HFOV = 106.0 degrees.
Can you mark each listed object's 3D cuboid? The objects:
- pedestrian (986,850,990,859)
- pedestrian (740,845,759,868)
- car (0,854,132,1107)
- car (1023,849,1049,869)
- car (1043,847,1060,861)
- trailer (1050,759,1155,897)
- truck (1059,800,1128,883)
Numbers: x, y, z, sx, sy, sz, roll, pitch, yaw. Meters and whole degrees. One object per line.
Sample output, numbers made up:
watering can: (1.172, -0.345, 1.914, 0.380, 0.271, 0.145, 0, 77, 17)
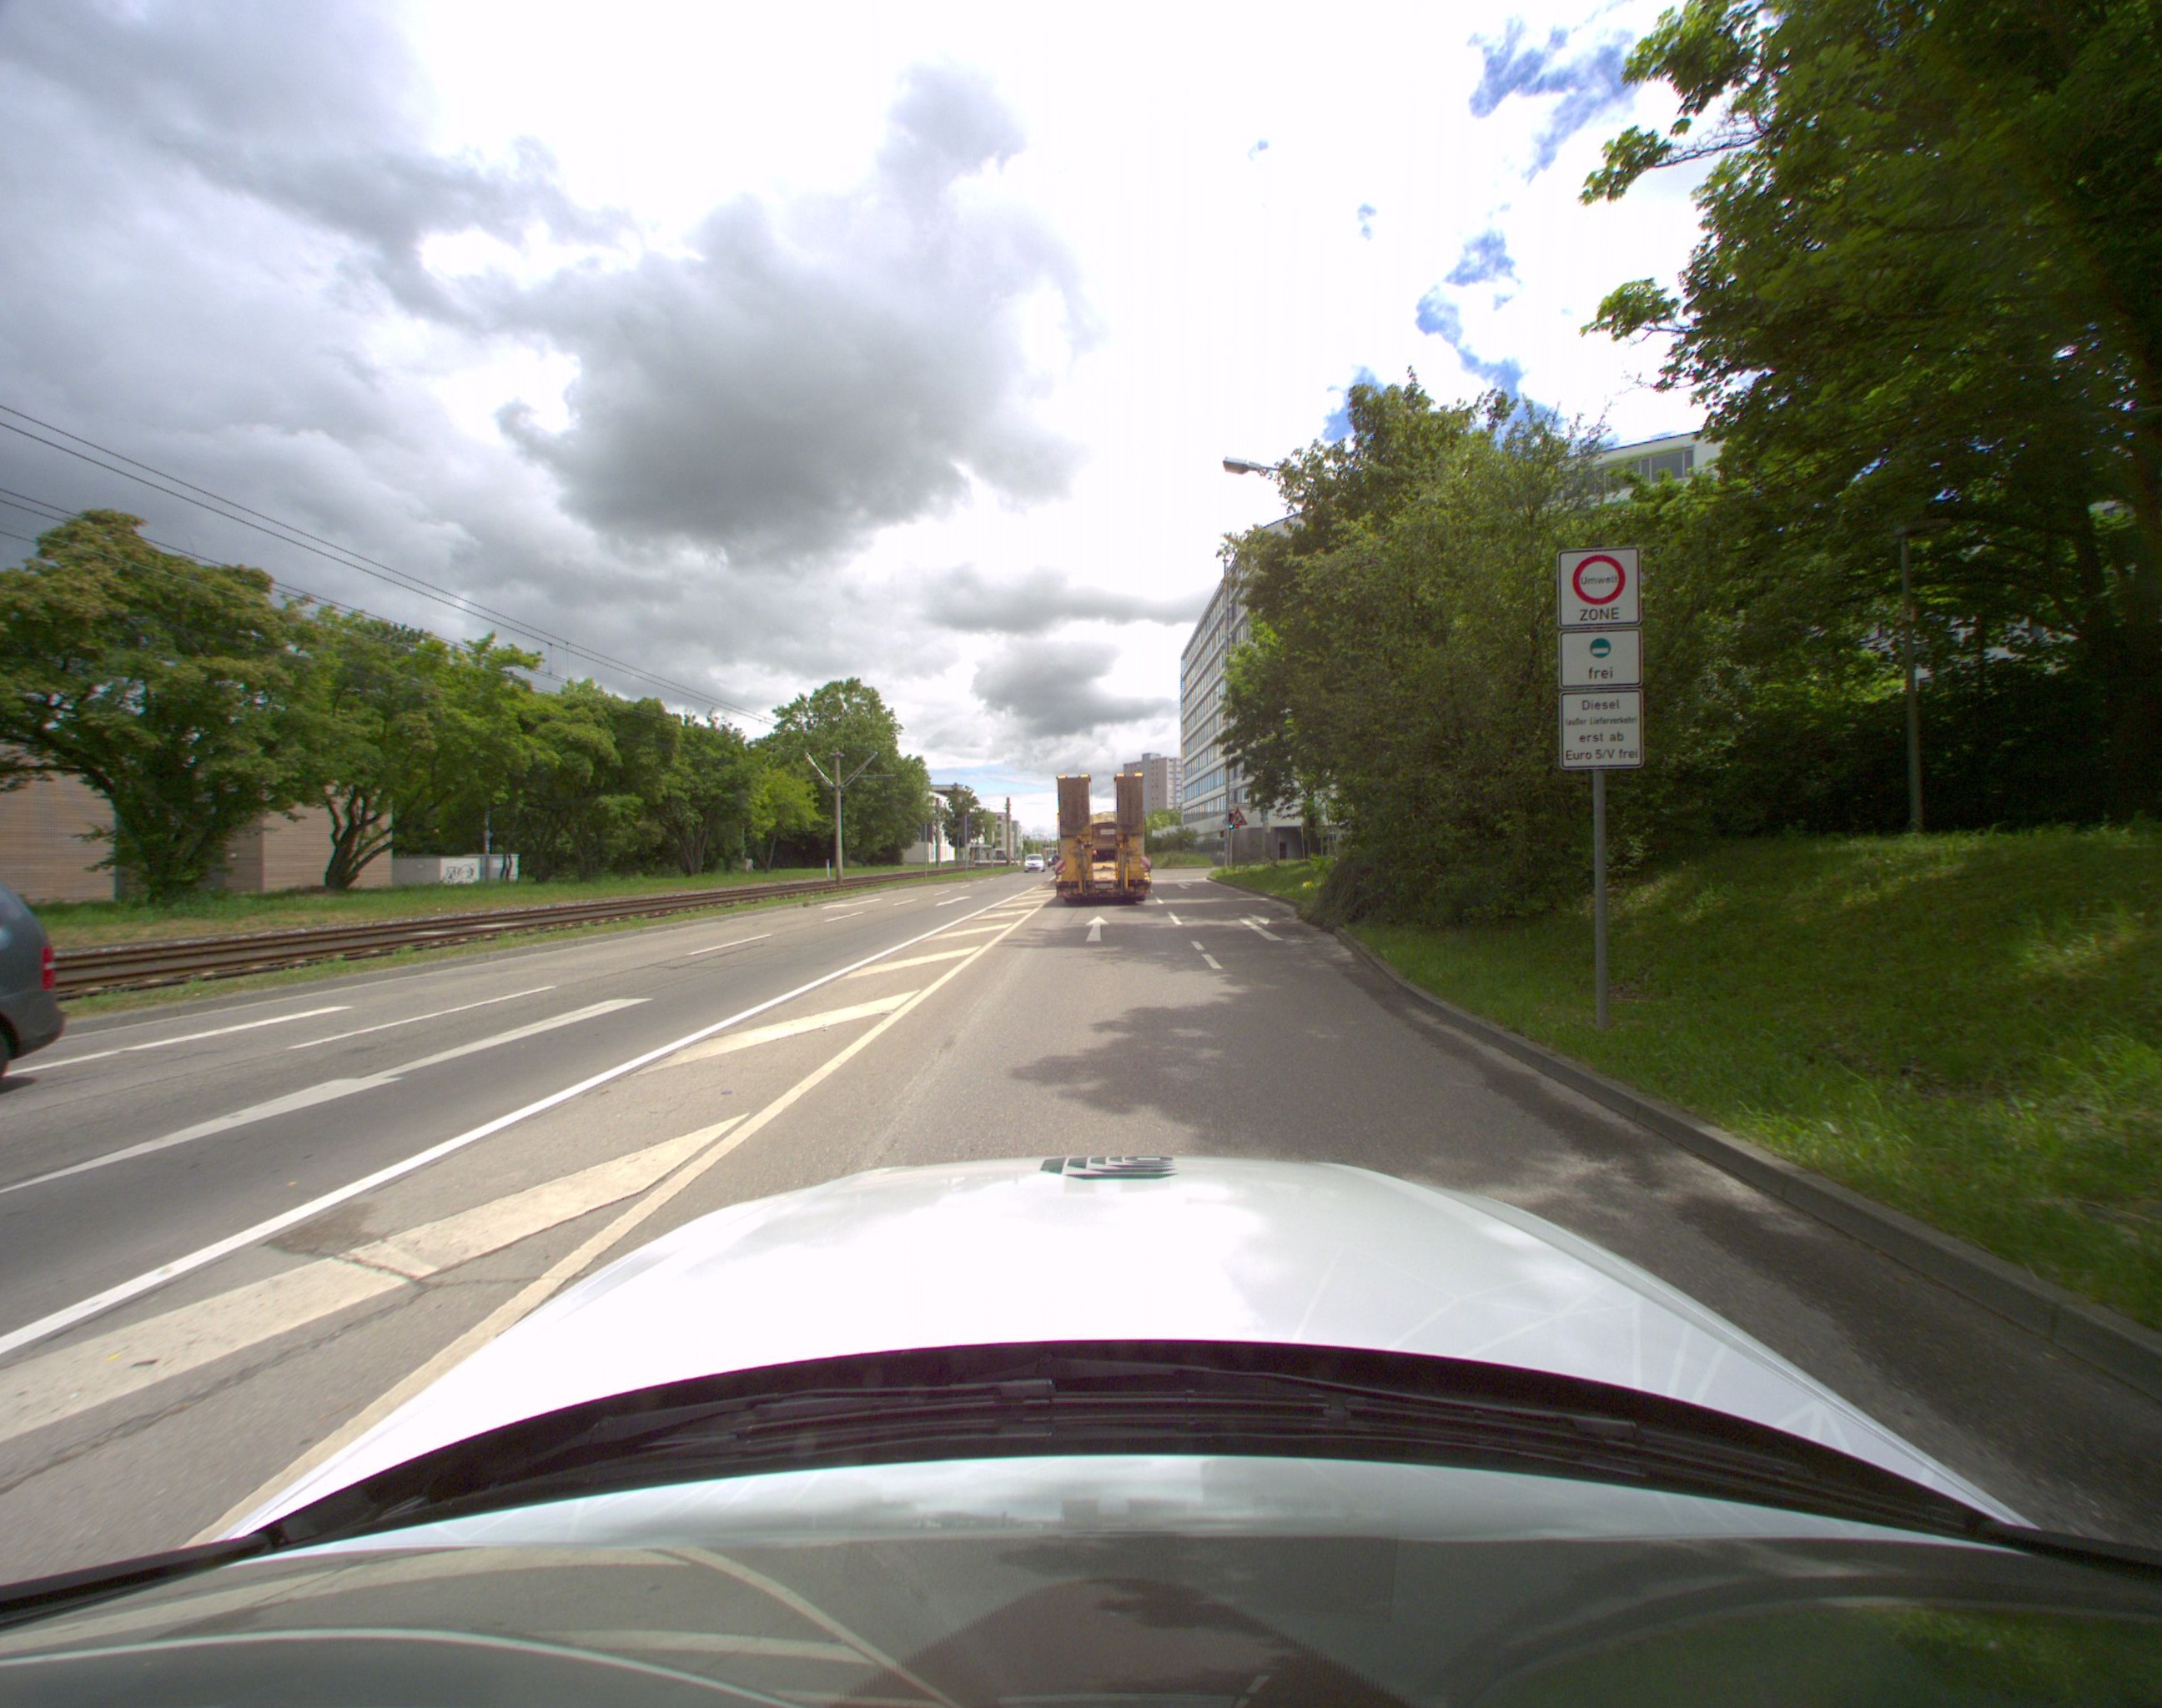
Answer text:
pedestrian: (-17.486, 0.089, 152.872, 0.738, 1.531, 0.547, 0, -1, 3)
pedestrian: (-28.321, 0.188, 69.582, 1.030, 1.933, 1.364, 0, 0, 1)
car: (-8.196, 0.828, 3.841, 1.985, 1.660, 4.526, 0, -1, 4)
car: (-3.826, 0.415, 69.694, 1.721, 1.612, 4.266, 0, -1, 3)
car: (-3.850, -0.002, 106.593, 1.853, 1.610, 4.612, -2, 2, 2)
trailer: (0.518, -0.638, 26.846, 2.721, 3.559, 11.249, 0, 0, 0)
truck: (0.540, -0.464, 36.644, 2.744, 3.313, 8.351, 0, -1, 0)
